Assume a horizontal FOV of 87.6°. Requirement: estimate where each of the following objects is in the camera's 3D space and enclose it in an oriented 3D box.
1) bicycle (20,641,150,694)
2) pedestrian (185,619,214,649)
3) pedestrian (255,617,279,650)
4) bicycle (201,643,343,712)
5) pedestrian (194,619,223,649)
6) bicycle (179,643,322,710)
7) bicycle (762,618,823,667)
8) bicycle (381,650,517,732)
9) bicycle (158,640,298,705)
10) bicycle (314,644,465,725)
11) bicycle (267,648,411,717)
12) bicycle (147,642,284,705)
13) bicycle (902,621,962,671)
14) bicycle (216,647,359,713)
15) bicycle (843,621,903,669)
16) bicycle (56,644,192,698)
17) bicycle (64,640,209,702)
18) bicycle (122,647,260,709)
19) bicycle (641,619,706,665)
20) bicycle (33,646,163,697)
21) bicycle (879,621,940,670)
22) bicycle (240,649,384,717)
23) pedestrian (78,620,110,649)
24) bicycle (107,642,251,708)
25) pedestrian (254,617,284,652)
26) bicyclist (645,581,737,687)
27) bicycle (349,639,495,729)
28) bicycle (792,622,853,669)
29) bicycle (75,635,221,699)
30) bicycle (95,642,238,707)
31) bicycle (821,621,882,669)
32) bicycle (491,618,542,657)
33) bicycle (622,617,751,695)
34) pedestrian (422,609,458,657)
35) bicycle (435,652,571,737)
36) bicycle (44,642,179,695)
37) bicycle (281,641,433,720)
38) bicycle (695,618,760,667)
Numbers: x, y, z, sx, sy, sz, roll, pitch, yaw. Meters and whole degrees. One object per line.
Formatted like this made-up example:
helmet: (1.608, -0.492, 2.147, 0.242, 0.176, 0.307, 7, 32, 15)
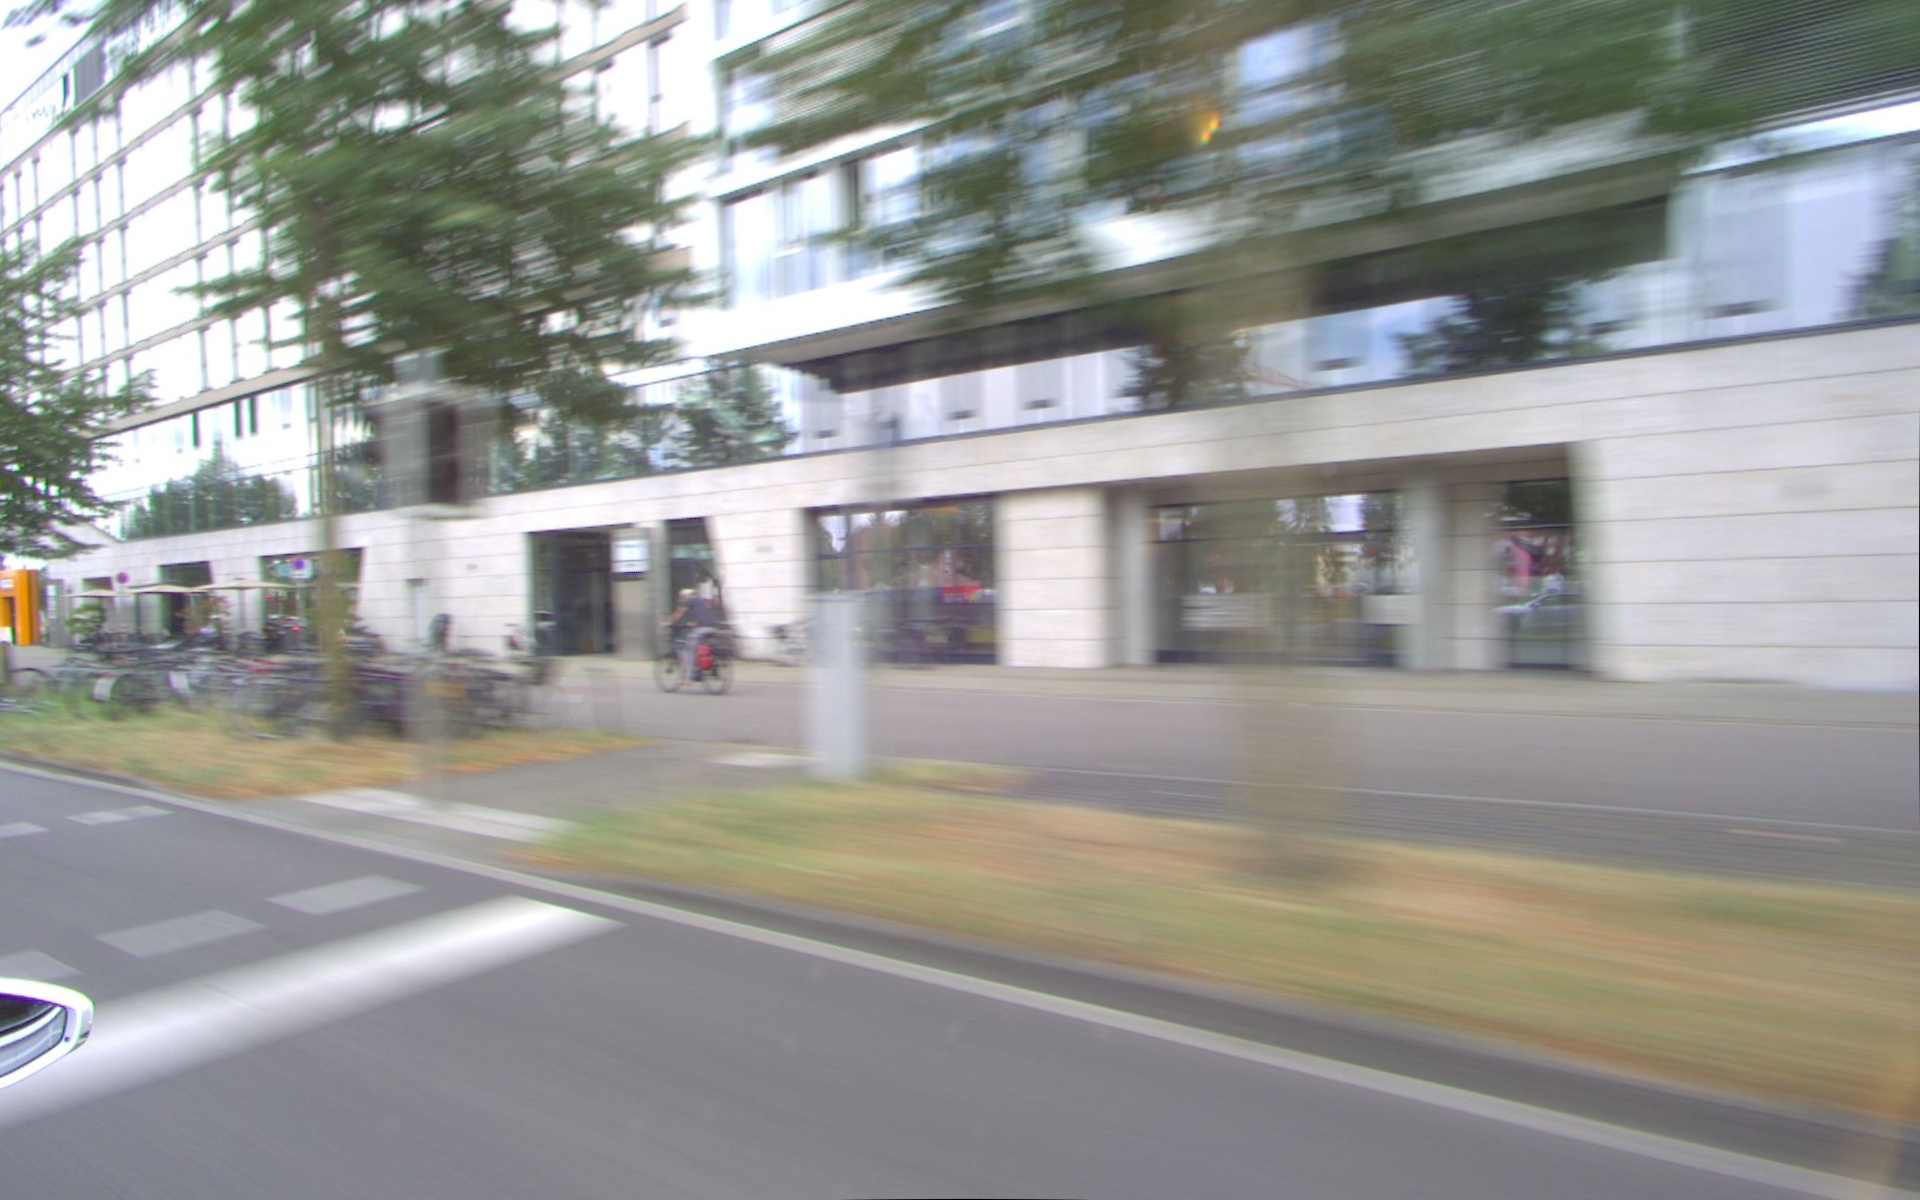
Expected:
bicycle: (-17.504, 1.339, 20.071, 0.565, 1.007, 1.859, 0, -3, 30)
pedestrian: (-31.404, 1.392, 41.373, 0.748, 1.208, 0.717, 0, 1, 32)
pedestrian: (-26.083, 1.266, 37.682, 0.712, 1.208, 0.753, -1, 1, -35)
bicycle: (-10.524, 1.170, 15.391, 0.599, 0.986, 1.716, 0, -3, 24)
pedestrian: (-30.708, 1.373, 40.903, 0.748, 1.208, 0.716, 0, 1, 34)
bicycle: (-11.079, 1.184, 15.711, 0.599, 0.986, 1.745, 0, -3, 24)
bicycle: (-3.809, 0.958, 22.902, 0.525, 1.040, 1.527, -1, 0, 29)
bicycle: (-6.475, 1.126, 12.765, 0.477, 0.965, 1.528, 0, -2, 29)
bicycle: (-11.772, 1.156, 16.166, 0.599, 0.986, 1.745, 0, -3, 24)
bicycle: (-7.734, 1.117, 13.664, 0.600, 1.025, 1.773, 0, -2, 24)
bicycle: (-8.906, 1.168, 14.430, 0.579, 0.917, 1.716, 0, -3, 24)
bicycle: (-12.399, 1.211, 16.735, 0.599, 0.986, 1.745, 0, -3, 24)
bicycle: (-0.574, 0.938, 20.880, 0.525, 0.966, 1.527, -1, 0, 29)
bicycle: (-10.014, 1.174, 14.980, 0.579, 0.917, 1.716, 0, -3, 24)
bicycle: (-1.859, 0.959, 21.613, 0.525, 0.966, 1.527, -1, 0, 29)
bicycle: (-15.733, 1.319, 18.893, 0.603, 0.963, 1.859, 0, -3, 30)
bicycle: (-15.168, 1.292, 18.510, 0.694, 1.078, 1.928, 0, -3, 30)
bicycle: (-12.979, 1.306, 16.961, 0.599, 0.986, 1.745, 0, -3, 24)
bicycle: (-7.014, 1.011, 24.589, 0.525, 1.040, 1.595, -1, 1, 29)
bicycle: (-16.941, 1.396, 19.731, 0.494, 0.963, 1.859, 0, -3, 30)
bicycle: (-1.050, 0.941, 21.160, 0.525, 0.966, 1.527, -1, 0, 29)
bicycle: (-9.456, 1.193, 14.692, 0.579, 0.917, 1.716, 0, -3, 24)
pedestrian: (-39.063, 1.536, 45.156, 0.938, 1.245, 0.894, 0, 1, 38)
bicycle: (-13.482, 1.277, 17.359, 0.535, 1.078, 1.931, 0, -3, 24)
pedestrian: (-25.103, 1.238, 36.374, 0.767, 1.208, 1.096, -1, 1, -42)
bicyclist: (-4.743, 0.583, 17.669, 1.113, 1.761, 0.994, -1, 4, 32)
bicycle: (-7.052, 1.074, 13.211, 0.517, 1.104, 1.667, 0, -2, 29)
bicycle: (-3.049, 0.995, 22.367, 0.525, 0.966, 1.527, -1, 0, 29)
bicycle: (-14.580, 1.192, 18.039, 0.632, 1.078, 1.928, 0, -3, 30)
bicycle: (-13.954, 1.289, 17.681, 0.535, 1.078, 1.931, 0, -3, 24)
bicycle: (-2.353, 0.973, 21.949, 0.525, 0.966, 1.527, -1, 0, 29)
bicycle: (-12.815, 1.068, 28.983, 0.599, 1.040, 1.602, -1, 1, 6)
bicycle: (-4.892, 0.966, 17.865, 2.235, 1.252, 0.899, -1, 3, 32)
pedestrian: (-16.090, 1.014, 31.009, 0.712, 1.425, 0.753, 0, 1, 40)
bicycle: (-5.700, 1.153, 12.568, 0.544, 0.965, 1.528, 0, -2, 29)
bicycle: (-16.326, 1.306, 19.322, 0.643, 0.963, 1.859, 0, -3, 30)
bicycle: (-8.354, 1.097, 13.961, 0.600, 1.024, 1.774, 0, -3, 24)
bicycle: (-5.474, 0.987, 23.622, 0.525, 1.040, 1.595, -1, 1, 29)
